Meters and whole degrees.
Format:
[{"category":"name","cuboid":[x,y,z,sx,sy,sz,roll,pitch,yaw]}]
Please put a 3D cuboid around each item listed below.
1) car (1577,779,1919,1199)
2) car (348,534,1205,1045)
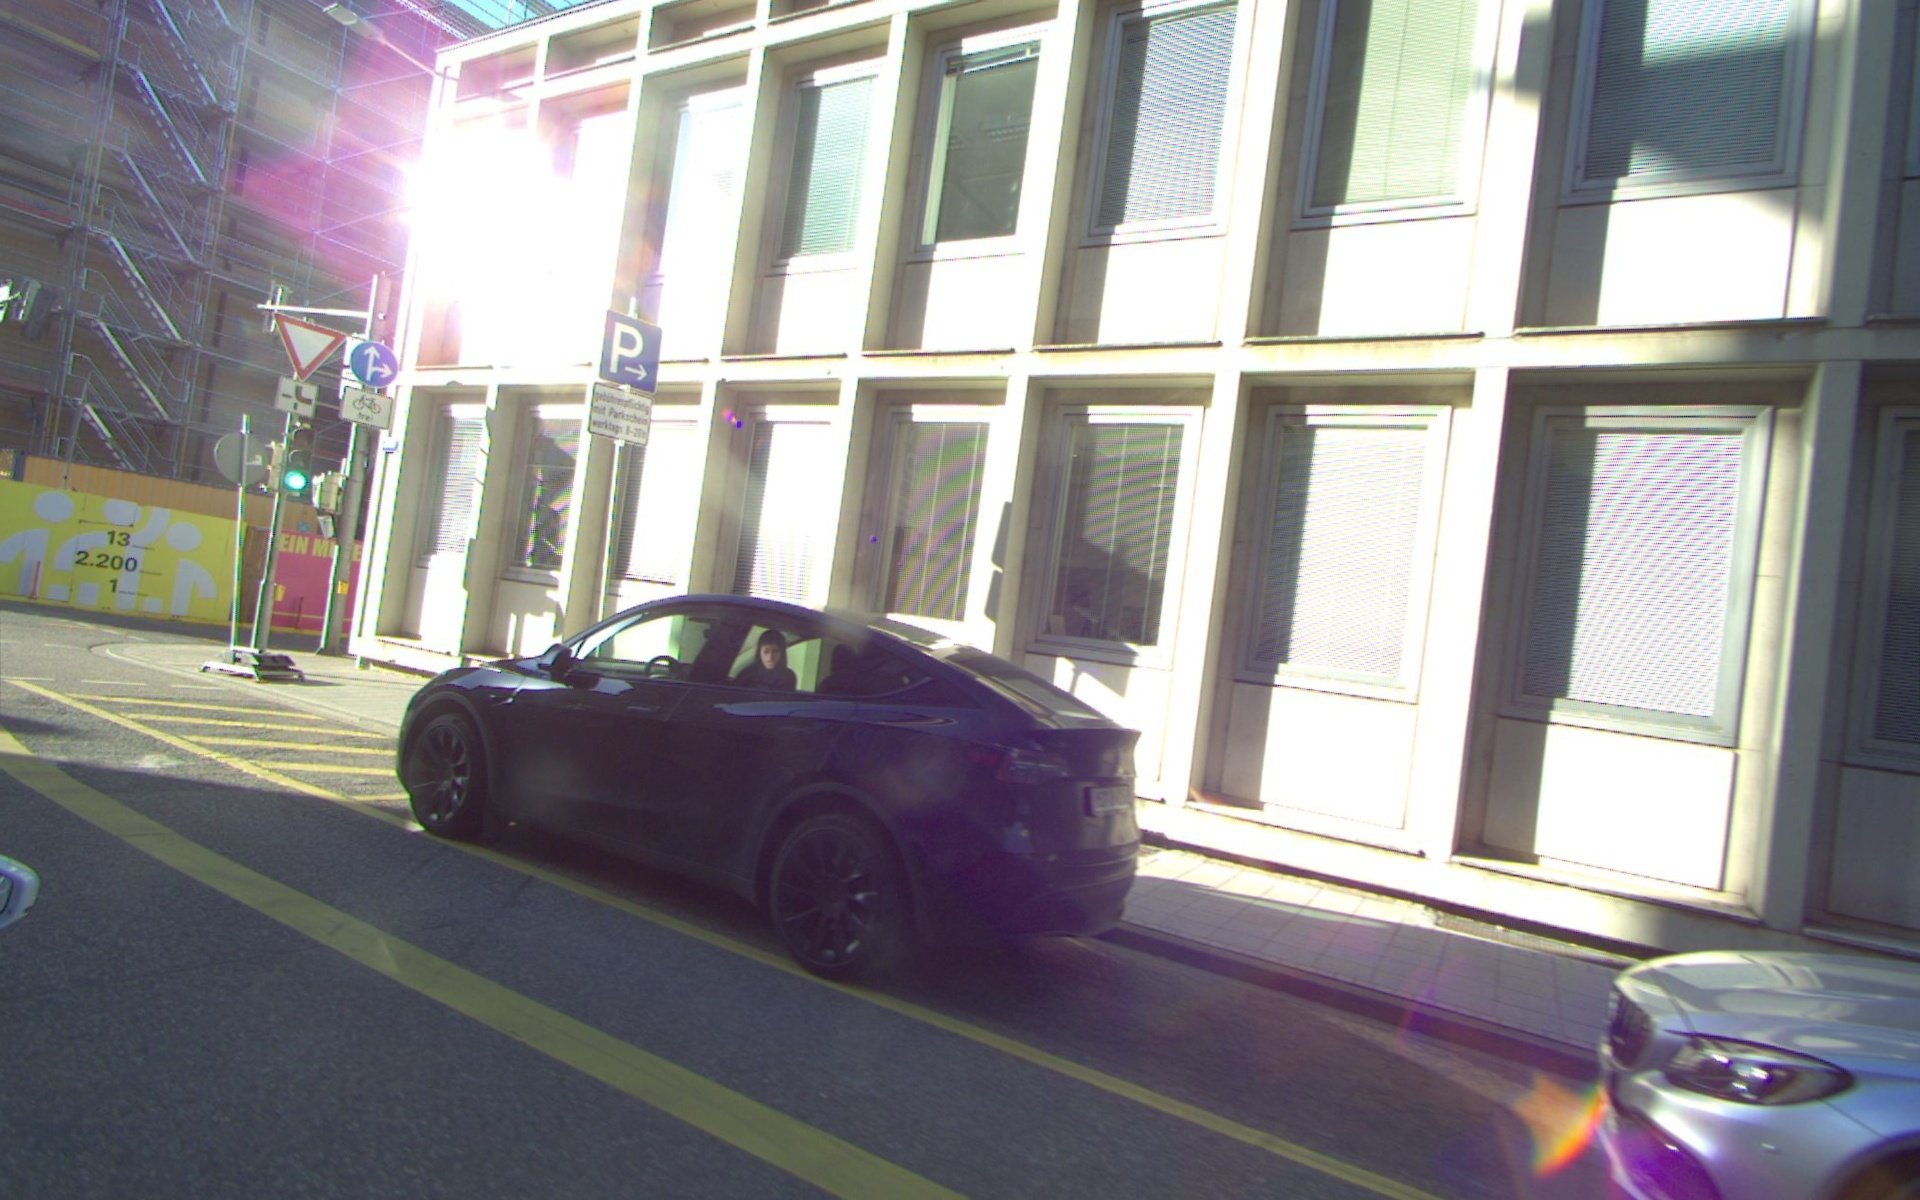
[{"category":"car","cuboid":[4.177,1.543,2.373,4.523,1.359,1.701,6,-3,33]},{"category":"car","cuboid":[-1.189,0.749,5.769,4.544,1.641,1.899,7,-3,31]}]
